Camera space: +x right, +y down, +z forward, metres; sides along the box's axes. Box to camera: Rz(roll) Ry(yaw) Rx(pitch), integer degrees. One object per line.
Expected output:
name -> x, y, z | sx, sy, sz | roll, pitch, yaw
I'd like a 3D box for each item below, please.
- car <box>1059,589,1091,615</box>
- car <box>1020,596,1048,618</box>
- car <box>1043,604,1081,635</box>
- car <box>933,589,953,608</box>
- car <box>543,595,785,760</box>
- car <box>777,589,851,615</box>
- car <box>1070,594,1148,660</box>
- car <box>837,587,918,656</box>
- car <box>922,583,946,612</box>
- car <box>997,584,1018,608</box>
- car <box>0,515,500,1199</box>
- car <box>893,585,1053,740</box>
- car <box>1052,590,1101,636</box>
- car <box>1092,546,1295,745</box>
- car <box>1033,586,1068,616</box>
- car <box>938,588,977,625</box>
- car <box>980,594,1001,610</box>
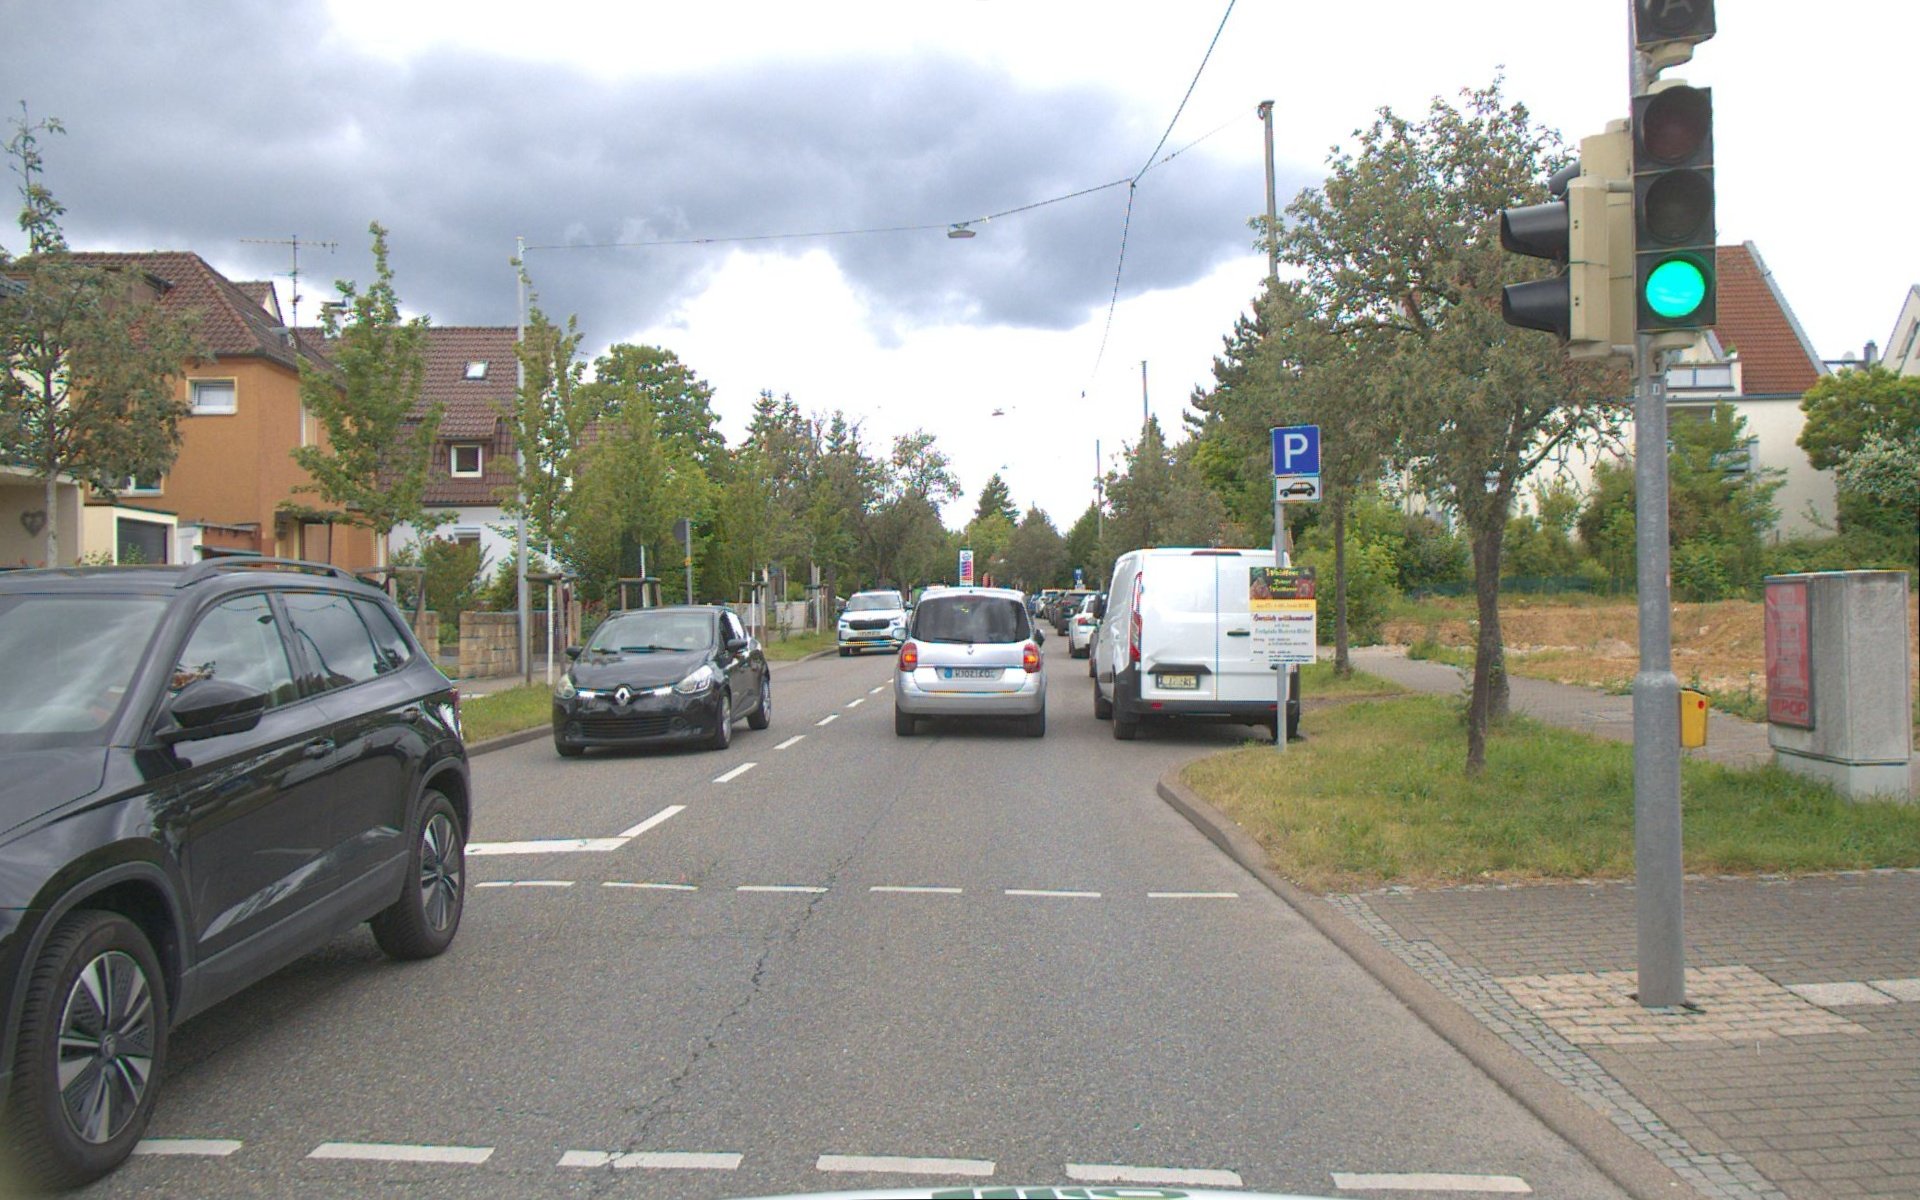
car -> 6.659, 0.092, 96.181 | 1.527, 1.468, 3.505 | 0, 0, -2
car -> 5.218, 0.486, 117.069 | 1.595, 1.477, 3.873 | -2, 0, -3
car -> 4.329, 0.811, 70.522 | 1.450, 1.257, 3.885 | 1, 0, 2
car -> -1.643, -0.147, 159.149 | 1.798, 1.743, 3.998 | -2, 0, -2
car -> -3.004, 0.728, 17.574 | 1.582, 1.497, 4.002 | -2, 0, 3
car -> -8.371, 0.105, 95.159 | 4.194, 1.392, 1.814 | 1, 0, -5
car -> 3.551, 0.599, 40.029 | 1.658, 1.479, 4.406 | 1, 0, 2
car -> -2.184, 0.549, 44.831 | 1.776, 1.722, 4.466 | -2, 0, 1
car -> -2.477, -0.205, 158.808 | 2.031, 2.627, 5.301 | -3, 0, 1
car -> 5.971, -0.441, 209.088 | 2.236, 2.962, 5.275 | 1, 0, -4
car -> -3.048, 0.645, 5.401 | 1.856, 1.652, 4.001 | -1, 0, 1
car -> 0.195, 0.641, 18.850 | 1.644, 1.587, 3.512 | 1, 0, 2
car -> 4.209, 0.450, 60.011 | 1.653, 1.637, 4.110 | 0, 0, 2
car -> 2.525, 0.443, 18.904 | 1.738, 1.977, 4.789 | 0, 0, 1
car -> 5.533, 0.059, 101.762 | 1.763, 1.809, 4.703 | 0, 0, -2
car -> -0.103, 0.313, 85.672 | 1.758, 1.782, 4.300 | -2, 0, 3
car -> 3.004, 0.213, 164.017 | 1.663, 1.532, 3.967 | -1, 0, -6
